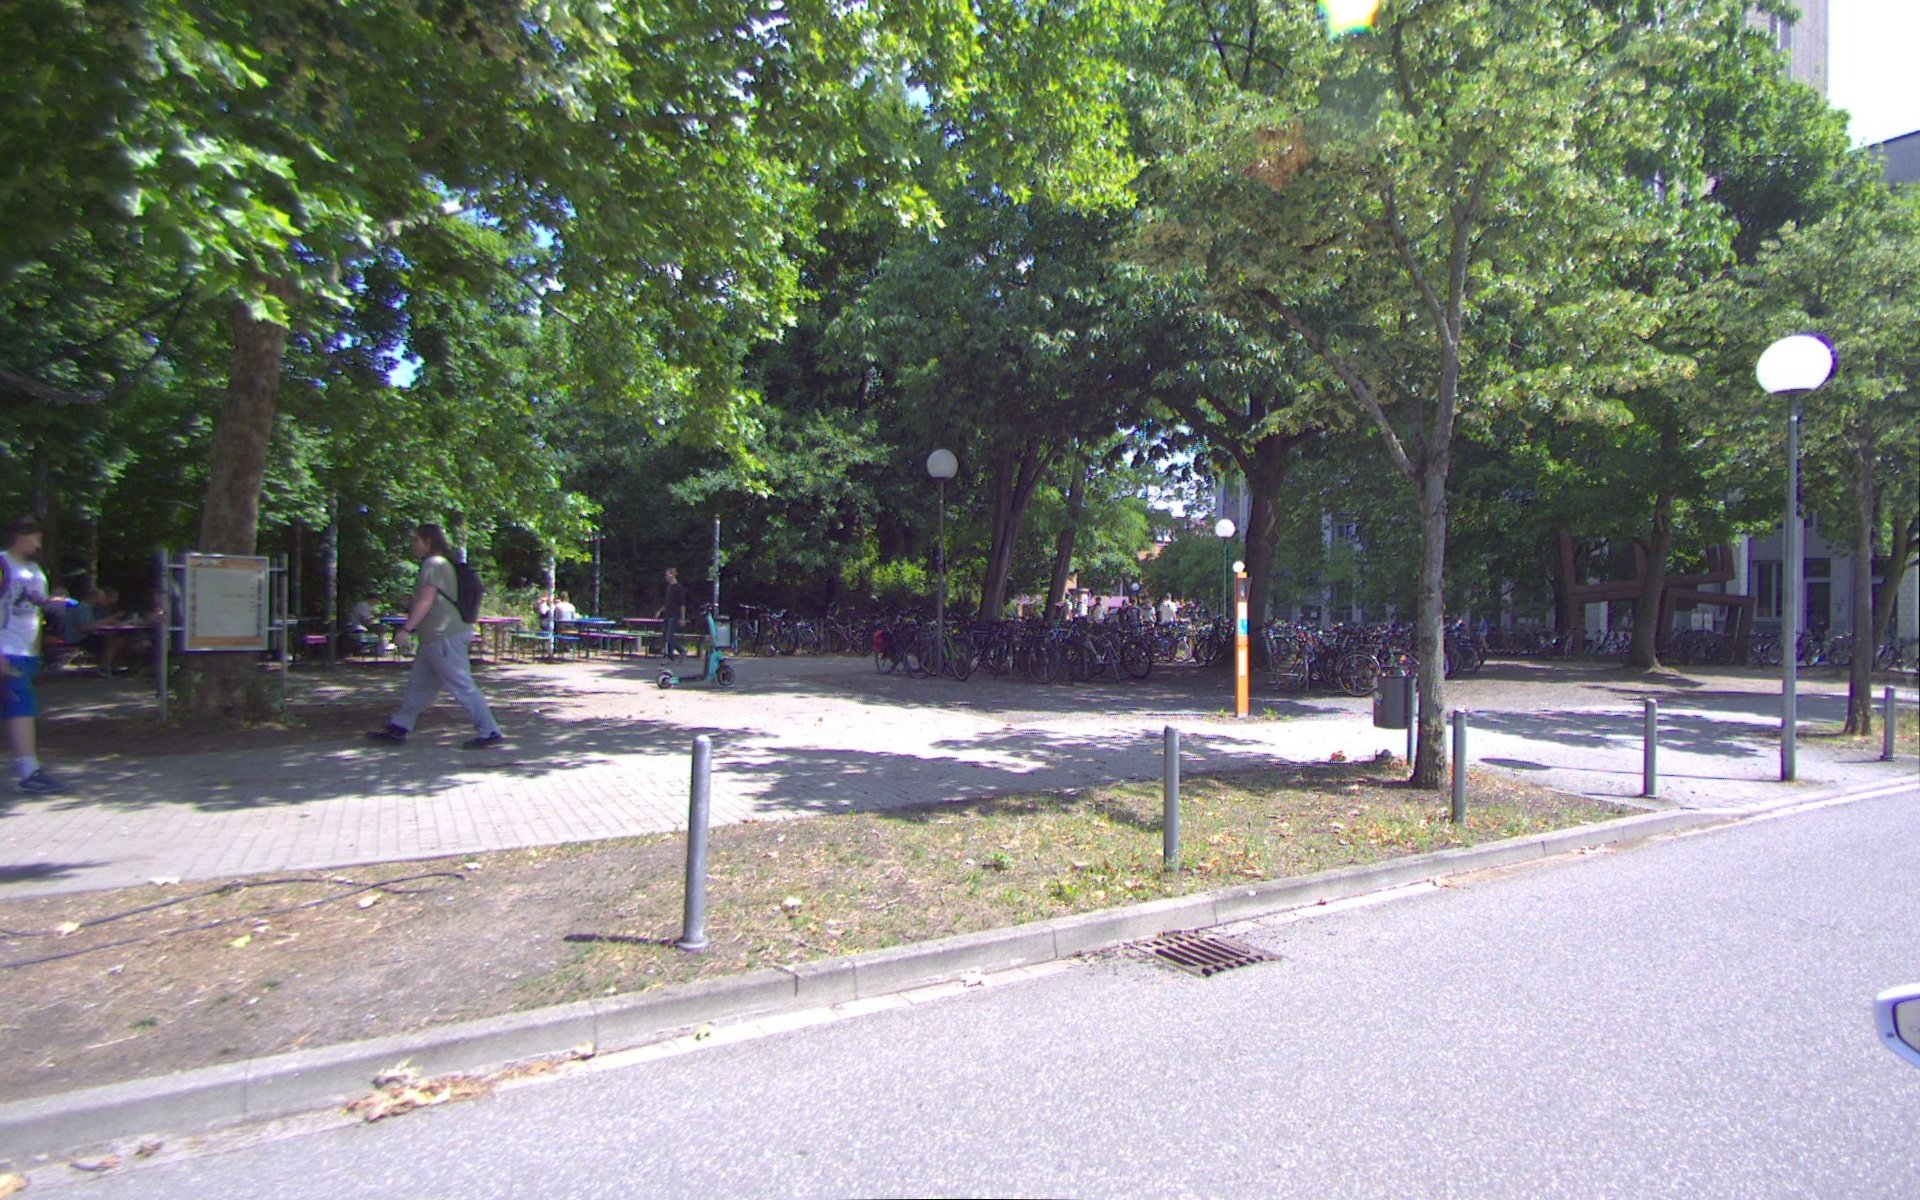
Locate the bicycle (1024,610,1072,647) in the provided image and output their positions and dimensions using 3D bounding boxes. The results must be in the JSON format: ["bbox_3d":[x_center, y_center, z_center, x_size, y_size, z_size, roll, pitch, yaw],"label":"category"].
[{"bbox_3d":[3.038,0.970,34.706,1.772,1.223,0.421,1,0,43],"label":"bicycle"}]

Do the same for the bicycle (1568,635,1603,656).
[{"bbox_3d":[28.877,2.099,46.367,1.971,0.959,0.522,1,-1,-32],"label":"bicycle"}]

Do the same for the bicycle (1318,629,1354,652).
[{"bbox_3d":[18.271,1.967,48.788,1.950,1.101,0.549,1,1,-31],"label":"bicycle"}]

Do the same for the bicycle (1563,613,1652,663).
[{"bbox_3d":[20.226,1.176,31.419,2.248,1.469,0.606,1,0,27],"label":"bicycle"}]

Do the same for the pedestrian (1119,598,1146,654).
[{"bbox_3d":[5.316,0.781,30.857,0.620,1.693,0.730,1,0,24],"label":"pedestrian"}]

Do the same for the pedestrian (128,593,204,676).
[{"bbox_3d":[-12.433,0.521,15.740,0.584,1.250,0.742,1,2,25],"label":"pedestrian"}]

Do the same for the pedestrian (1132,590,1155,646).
[{"bbox_3d":[6.475,0.628,35.370,0.610,1.960,0.681,1,0,24],"label":"pedestrian"}]

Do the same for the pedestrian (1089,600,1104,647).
[{"bbox_3d":[4.867,0.839,35.806,0.452,1.636,0.351,1,0,14],"label":"pedestrian"}]

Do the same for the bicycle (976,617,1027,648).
[{"bbox_3d":[1.322,1.036,32.231,1.741,0.906,0.417,1,0,40],"label":"bicycle"}]

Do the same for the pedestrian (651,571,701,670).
[{"bbox_3d":[-5.460,0.387,19.325,0.796,1.873,0.527,1,0,-30],"label":"pedestrian"}]

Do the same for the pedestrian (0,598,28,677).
[{"bbox_3d":[-16.564,0.636,17.166,0.769,1.341,0.684,1,-1,-29],"label":"pedestrian"}]

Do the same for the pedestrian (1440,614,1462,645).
[{"bbox_3d":[25.510,1.537,52.150,0.590,1.614,0.824,1,0,-28],"label":"pedestrian"}]

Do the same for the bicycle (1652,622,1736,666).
[{"bbox_3d":[22.178,1.316,30.388,1.984,1.270,0.586,0,-1,28],"label":"bicycle"}]

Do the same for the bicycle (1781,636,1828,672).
[{"bbox_3d":[27.450,1.750,32.643,1.950,1.101,0.549,1,1,-31],"label":"bicycle"}]

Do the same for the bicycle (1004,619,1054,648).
[{"bbox_3d":[2.314,1.117,33.750,1.741,0.906,0.417,1,0,40],"label":"bicycle"}]

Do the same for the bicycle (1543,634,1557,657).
[{"bbox_3d":[21.646,1.664,36.870,0.317,0.773,1.559,1,0,26],"label":"bicycle"}]

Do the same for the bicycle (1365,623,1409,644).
[{"bbox_3d":[18.692,1.480,43.946,2.627,0.882,0.544,1,0,-38],"label":"bicycle"}]

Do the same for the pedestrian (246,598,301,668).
[{"bbox_3d":[-12.808,0.606,18.744,0.761,1.267,0.563,1,0,-42],"label":"pedestrian"}]

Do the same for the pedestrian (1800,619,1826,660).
[{"bbox_3d":[36.034,1.670,42.424,0.623,1.683,0.694,1,0,22],"label":"pedestrian"}]

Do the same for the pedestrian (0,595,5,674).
[{"bbox_3d":[-16.068,0.564,16.307,0.685,1.288,0.557,1,0,-30],"label":"pedestrian"}]

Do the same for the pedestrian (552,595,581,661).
[{"bbox_3d":[-8.791,0.612,22.445,0.456,1.441,0.501,1,0,-40],"label":"pedestrian"}]

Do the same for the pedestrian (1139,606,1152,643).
[{"bbox_3d":[8.798,1.171,47.675,0.405,1.736,0.544,1,0,29],"label":"pedestrian"}]

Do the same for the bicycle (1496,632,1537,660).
[{"bbox_3d":[22.807,1.872,41.135,1.950,1.101,0.549,1,1,-31],"label":"bicycle"}]

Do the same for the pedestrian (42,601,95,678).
[{"bbox_3d":[-15.801,0.693,17.825,0.552,1.341,0.642,1,-1,-29],"label":"pedestrian"}]

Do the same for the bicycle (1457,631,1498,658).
[{"bbox_3d":[21.587,1.848,41.853,1.950,1.101,0.549,1,1,-31],"label":"bicycle"}]

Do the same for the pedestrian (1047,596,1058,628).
[{"bbox_3d":[5.932,0.783,64.540,0.511,2.040,0.532,1,0,-16],"label":"pedestrian"}]

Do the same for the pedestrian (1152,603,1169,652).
[{"bbox_3d":[8.592,1.177,43.068,0.511,2.040,0.532,1,0,-16],"label":"pedestrian"}]

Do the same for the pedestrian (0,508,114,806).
[{"bbox_3d":[-6.261,0.350,6.560,0.975,1.855,0.795,1,0,-30],"label":"pedestrian"}]

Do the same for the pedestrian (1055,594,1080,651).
[{"bbox_3d":[3.243,0.664,30.328,0.567,1.693,0.630,1,0,24],"label":"pedestrian"}]

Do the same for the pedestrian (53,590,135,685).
[{"bbox_3d":[-13.075,0.542,15.174,0.584,1.388,0.742,1,2,25],"label":"pedestrian"}]

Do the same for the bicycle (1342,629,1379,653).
[{"bbox_3d":[18.971,1.951,47.562,1.950,1.101,0.549,1,1,-31],"label":"bicycle"}]

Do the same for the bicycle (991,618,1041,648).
[{"bbox_3d":[1.827,1.074,33.105,1.741,0.906,0.417,1,0,40],"label":"bicycle"}]

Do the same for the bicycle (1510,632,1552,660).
[{"bbox_3d":[23.042,1.859,40.516,1.950,1.101,0.549,1,1,-31],"label":"bicycle"}]

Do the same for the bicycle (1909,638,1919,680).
[{"bbox_3d":[24.293,1.478,25.361,1.802,1.039,0.378,2,-1,-43],"label":"bicycle"}]

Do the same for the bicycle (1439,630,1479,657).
[{"bbox_3d":[21.152,1.857,42.577,1.950,1.101,0.549,1,1,-31],"label":"bicycle"}]

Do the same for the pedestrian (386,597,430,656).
[{"bbox_3d":[-11.521,0.551,20.975,0.724,1.210,0.387,1,0,-40],"label":"pedestrian"}]

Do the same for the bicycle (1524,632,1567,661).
[{"bbox_3d":[23.250,1.844,39.873,1.950,1.101,0.549,1,1,-31],"label":"bicycle"}]

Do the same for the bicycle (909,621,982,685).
[{"bbox_3d":[-0.283,0.920,17.845,0.531,1.028,1.795,1,0,-28],"label":"bicycle"}]

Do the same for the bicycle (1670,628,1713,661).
[{"bbox_3d":[24.163,1.459,33.169,1.828,1.046,0.473,1,0,-30],"label":"bicycle"}]

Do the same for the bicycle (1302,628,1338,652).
[{"bbox_3d":[17.678,1.961,49.292,1.950,1.101,0.549,1,1,-31],"label":"bicycle"}]

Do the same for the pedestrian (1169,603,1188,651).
[{"bbox_3d":[9.306,1.149,42.854,0.583,2.040,0.532,1,0,-16],"label":"pedestrian"}]

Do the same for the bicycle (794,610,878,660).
[{"bbox_3d":[-3.016,0.841,24.389,1.920,1.106,0.597,2,-1,21],"label":"bicycle"}]

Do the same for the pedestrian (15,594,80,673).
[{"bbox_3d":[-15.238,0.546,16.794,0.685,1.288,0.557,1,0,-30],"label":"pedestrian"}]

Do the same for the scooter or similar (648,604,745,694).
[{"bbox_3d":[-3.900,0.714,14.858,1.227,1.263,0.695,1,0,-31],"label":"scooter or similar"}]

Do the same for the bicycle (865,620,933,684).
[{"bbox_3d":[-1.115,0.905,18.024,0.531,1.028,1.795,1,0,-27],"label":"bicycle"}]

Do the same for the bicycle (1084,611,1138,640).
[{"bbox_3d":[5.718,0.958,38.114,2.028,1.049,0.504,1,0,37],"label":"bicycle"}]

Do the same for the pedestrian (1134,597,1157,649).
[{"bbox_3d":[6.086,0.748,32.923,0.545,1.693,0.693,1,0,24],"label":"pedestrian"}]

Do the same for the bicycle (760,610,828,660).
[{"bbox_3d":[-3.931,0.815,23.698,0.593,1.106,1.933,3,-1,-43],"label":"bicycle"}]

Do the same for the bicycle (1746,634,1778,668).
[{"bbox_3d":[23.828,1.493,29.821,1.644,0.978,0.471,2,-1,-42],"label":"bicycle"}]

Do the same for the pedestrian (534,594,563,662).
[{"bbox_3d":[-9.492,0.628,23.175,0.470,1.543,0.501,1,0,-41],"label":"pedestrian"}]

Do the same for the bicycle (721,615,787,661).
[{"bbox_3d":[-4.684,0.859,22.759,0.542,0.955,1.860,3,-1,-43],"label":"bicycle"}]

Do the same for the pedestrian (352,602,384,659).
[{"bbox_3d":[-12.064,0.620,20.478,0.503,1.155,0.332,1,0,-41],"label":"pedestrian"}]

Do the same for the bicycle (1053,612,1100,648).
[{"bbox_3d":[4.206,1.081,36.238,1.772,1.223,0.421,1,0,43],"label":"bicycle"}]

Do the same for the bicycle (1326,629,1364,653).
[{"bbox_3d":[18.388,1.941,47.953,1.950,1.101,0.549,1,1,-31],"label":"bicycle"}]

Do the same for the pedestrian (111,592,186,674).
[{"bbox_3d":[-12.963,0.509,16.051,0.584,1.250,0.742,1,2,25],"label":"pedestrian"}]

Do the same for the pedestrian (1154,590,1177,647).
[{"bbox_3d":[7.162,0.630,35.008,0.635,1.960,0.696,1,0,24],"label":"pedestrian"}]

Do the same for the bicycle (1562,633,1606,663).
[{"bbox_3d":[23.972,1.826,38.581,1.950,1.101,0.549,1,1,-31],"label":"bicycle"}]

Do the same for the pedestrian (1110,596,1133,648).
[{"bbox_3d":[5.332,0.721,33.217,0.545,1.693,0.703,1,0,24],"label":"pedestrian"}]

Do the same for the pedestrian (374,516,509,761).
[{"bbox_3d":[-4.451,0.313,8.698,0.879,1.981,0.916,2,1,-21],"label":"pedestrian"}]
